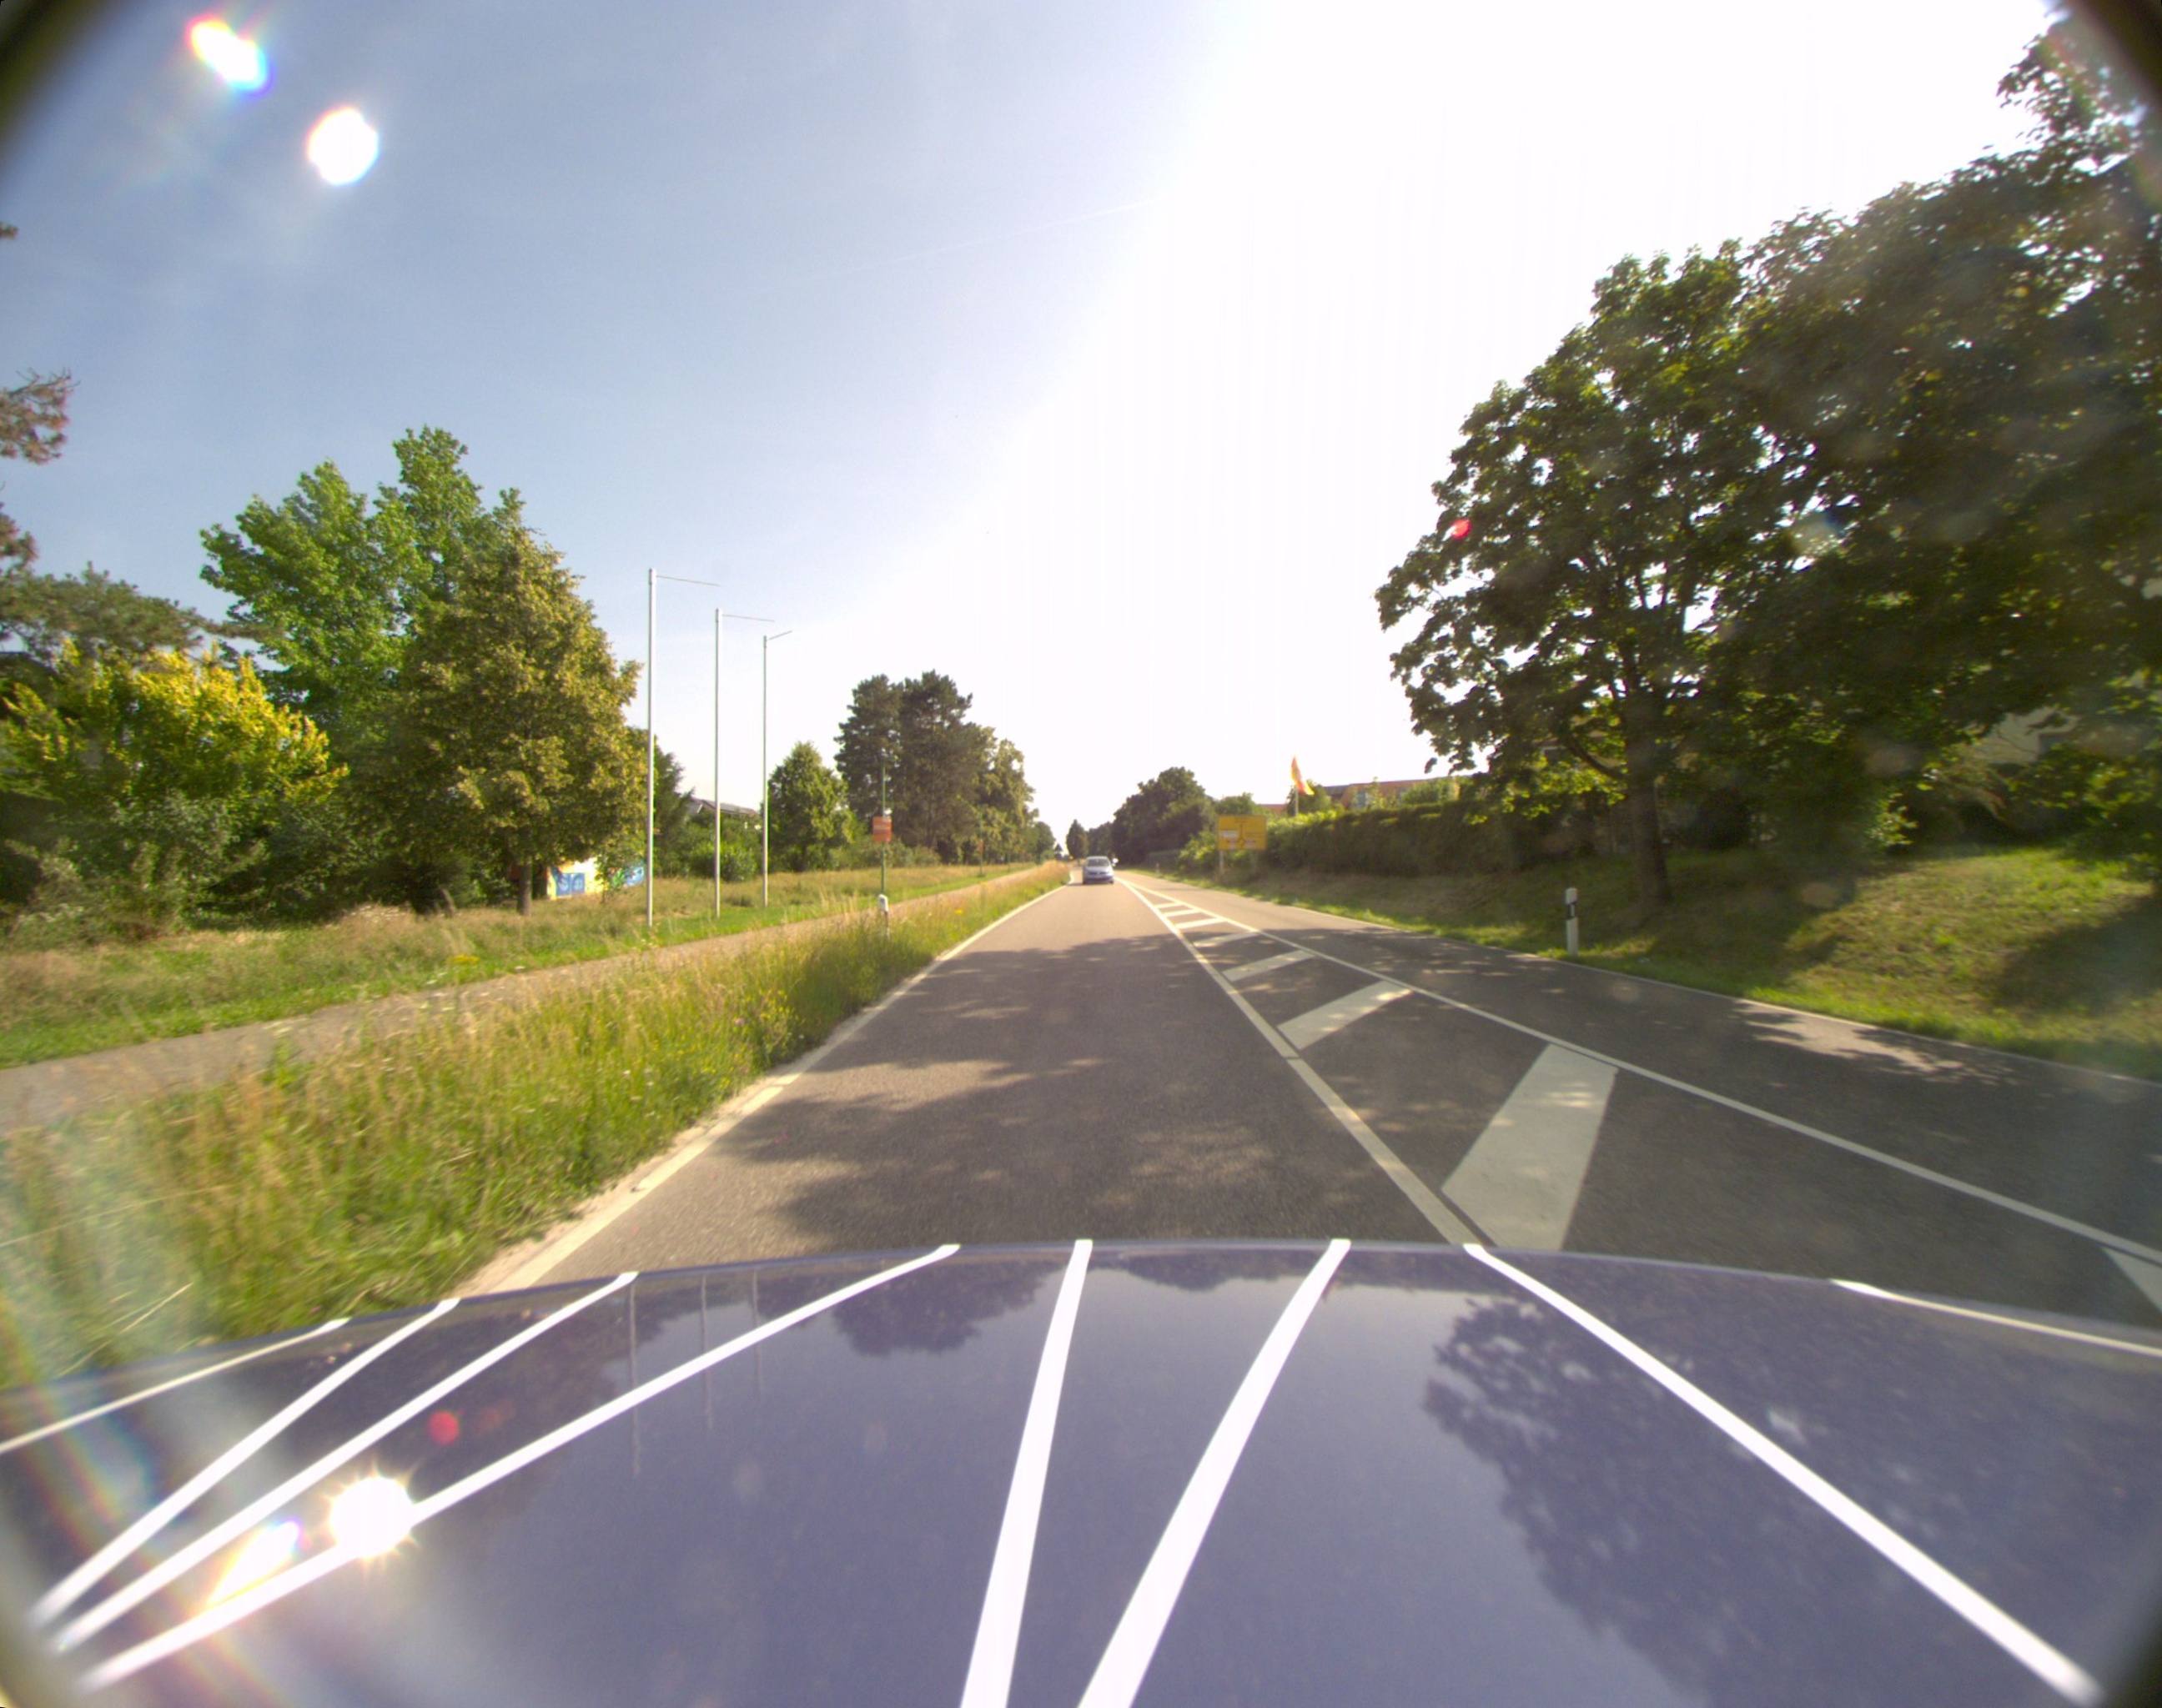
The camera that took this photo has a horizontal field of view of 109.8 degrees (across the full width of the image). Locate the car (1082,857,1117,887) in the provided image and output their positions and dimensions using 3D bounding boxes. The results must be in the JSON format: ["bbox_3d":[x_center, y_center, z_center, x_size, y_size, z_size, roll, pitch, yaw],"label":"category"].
[{"bbox_3d":[1.016,0.996,43.205,1.808,1.592,4.269,-1,-1,-1],"label":"car"}]
